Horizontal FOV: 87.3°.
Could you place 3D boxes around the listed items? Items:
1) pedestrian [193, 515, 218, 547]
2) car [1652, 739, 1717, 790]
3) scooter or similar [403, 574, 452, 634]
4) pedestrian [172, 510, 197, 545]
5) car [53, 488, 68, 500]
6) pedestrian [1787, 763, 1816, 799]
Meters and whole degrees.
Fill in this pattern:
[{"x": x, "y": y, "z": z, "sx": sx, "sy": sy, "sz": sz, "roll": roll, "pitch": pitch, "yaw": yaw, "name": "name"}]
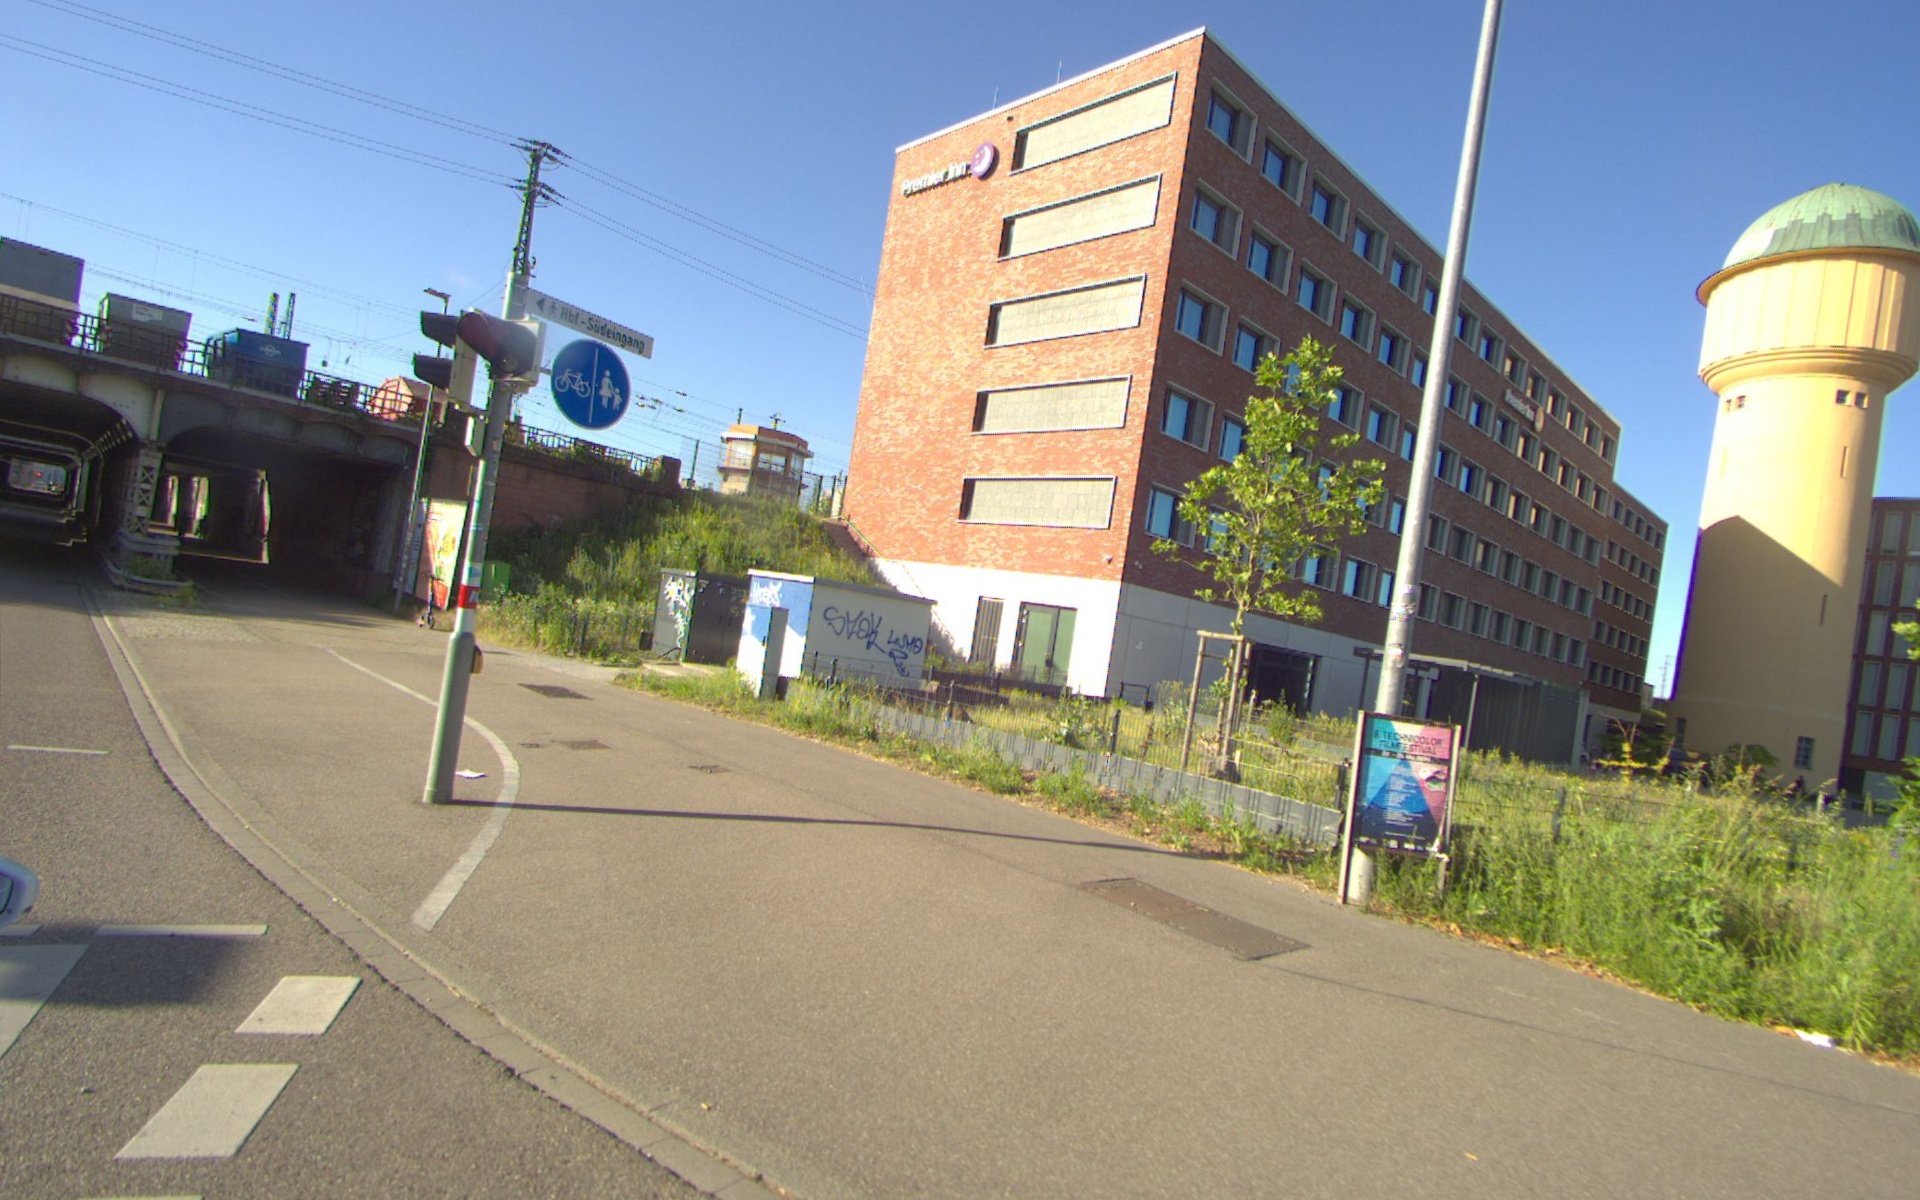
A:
[{"x": -43.758, "y": -3.990, "z": 58.371, "sx": 0.875, "sy": 1.677, "sz": 0.914, "roll": 8, "pitch": 1, "yaw": 44, "name": "pedestrian"}, {"x": 39.315, "y": 8.956, "z": 54.572, "sx": 4.913, "sy": 2.289, "sz": 1.845, "roll": 11, "pitch": -3, "yaw": -44, "name": "car"}, {"x": -12.143, "y": 0.079, "z": 22.939, "sx": 0.536, "sy": 1.210, "sz": 1.276, "roll": 10, "pitch": -2, "yaw": -42, "name": "scooter or similar"}, {"x": -44.435, "y": -4.146, "z": 57.661, "sx": 0.910, "sy": 1.858, "sz": 0.878, "roll": 8, "pitch": 1, "yaw": 44, "name": "pedestrian"}, {"x": -169.767, "y": -20.012, "z": 189.884, "sx": 1.988, "sy": 1.804, "sz": 3.951, "roll": 9, "pitch": -1, "yaw": -42, "name": "car"}, {"x": 48.839, "y": 10.479, "z": 58.405, "sx": 0.880, "sy": 1.884, "sz": 0.972, "roll": 7, "pitch": -2, "yaw": 23, "name": "pedestrian"}]
